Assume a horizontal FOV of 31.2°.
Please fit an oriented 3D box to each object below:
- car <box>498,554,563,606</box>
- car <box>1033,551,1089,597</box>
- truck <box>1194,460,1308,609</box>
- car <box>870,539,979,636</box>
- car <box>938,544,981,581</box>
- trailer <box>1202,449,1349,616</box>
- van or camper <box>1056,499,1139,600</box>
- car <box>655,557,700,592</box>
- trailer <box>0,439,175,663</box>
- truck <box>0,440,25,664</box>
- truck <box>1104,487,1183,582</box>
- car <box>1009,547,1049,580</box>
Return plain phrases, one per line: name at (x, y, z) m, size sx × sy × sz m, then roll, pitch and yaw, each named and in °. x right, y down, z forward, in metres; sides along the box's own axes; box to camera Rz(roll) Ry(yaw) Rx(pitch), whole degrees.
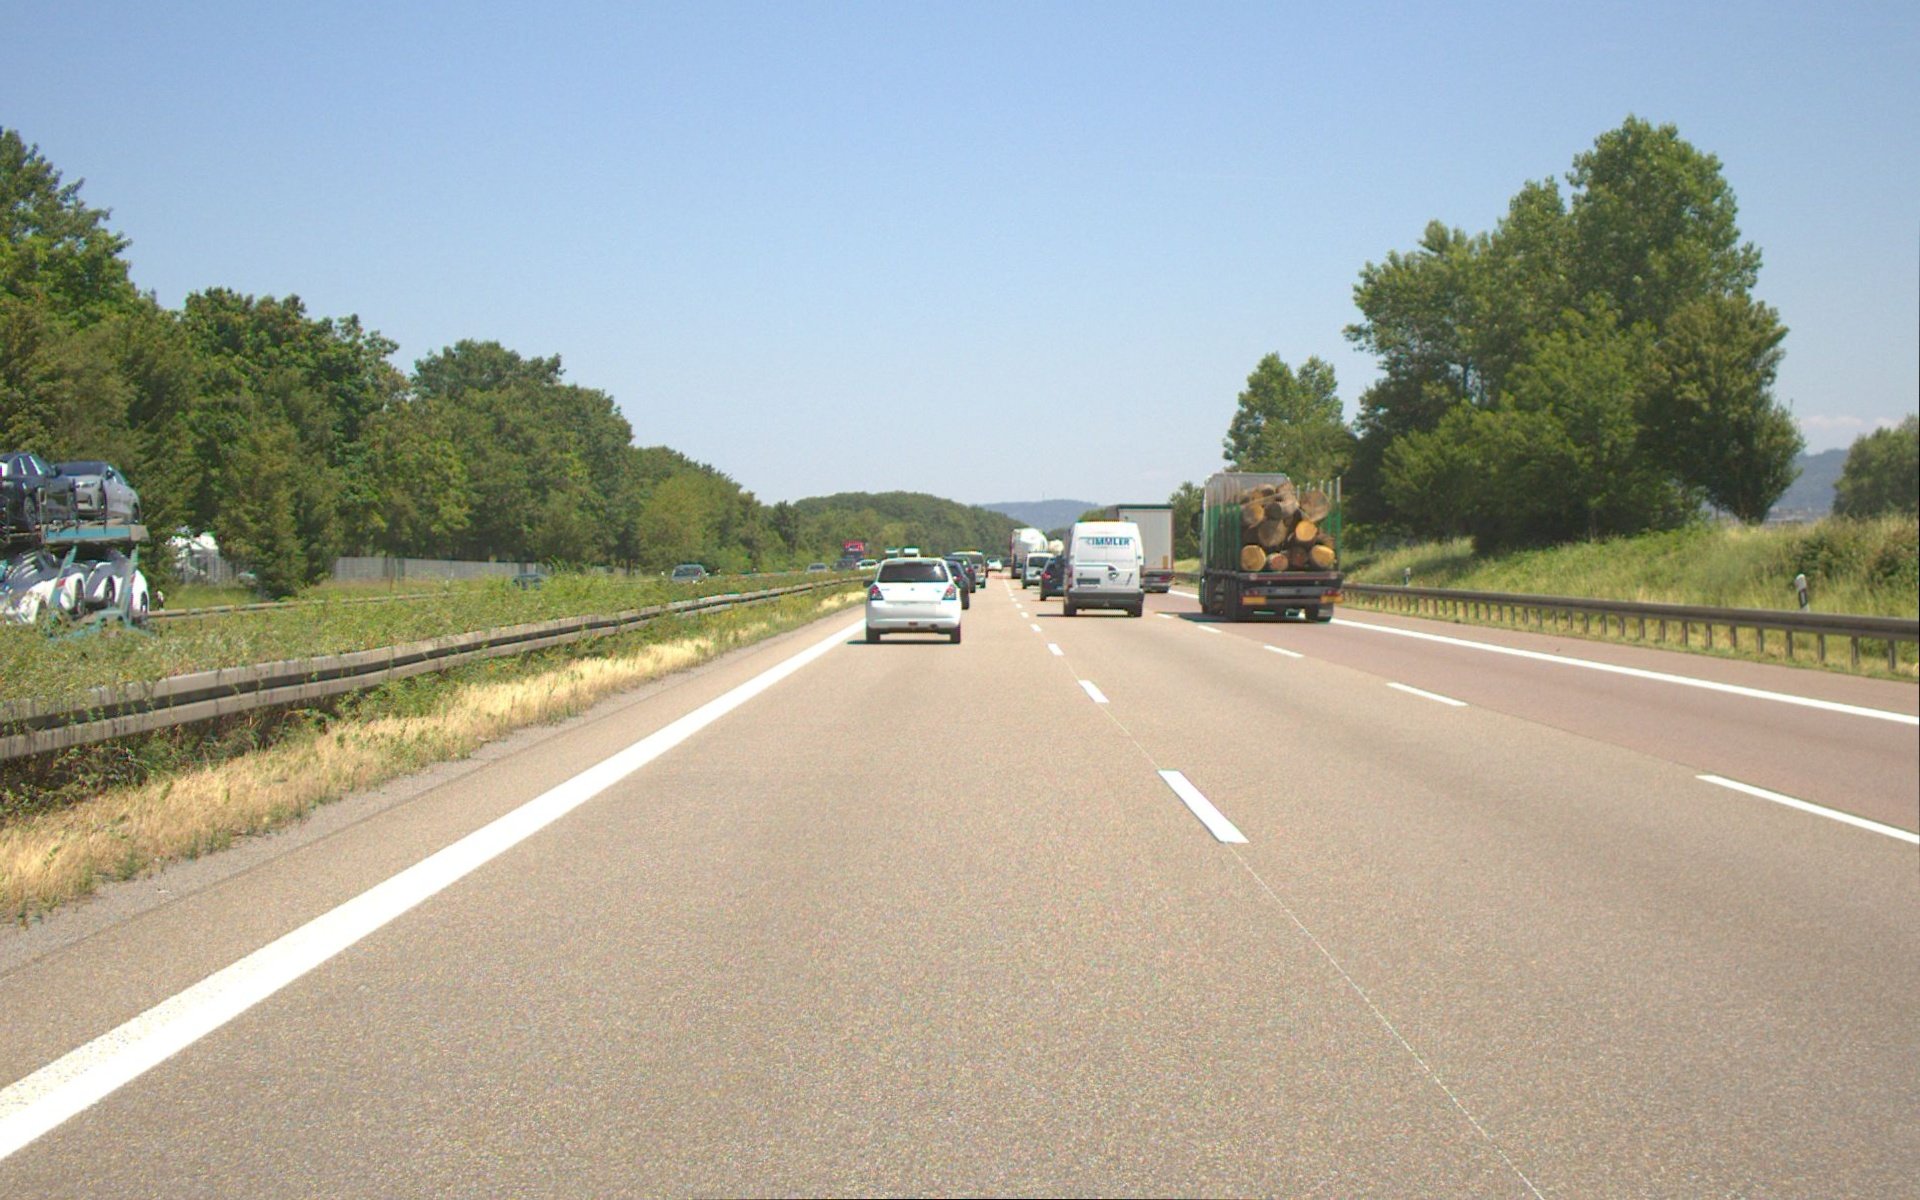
car at (-17.096, -0.811, 136.969) m, size 1.993 × 2.007 × 4.272 m, roll 1°, pitch 1°, yaw 0°
car at (3.683, -0.948, 125.605) m, size 1.857 × 1.646 × 4.000 m, roll 0°, pitch 1°, yaw -1°
truck at (8.079, -1.813, 96.045) m, size 2.670 × 3.981 × 6.636 m, roll 1°, pitch 1°, yaw 1°
car at (-0.654, -0.241, 61.703) m, size 1.857 × 1.646 × 4.000 m, roll 1°, pitch 1°, yaw -1°
car at (-0.039, -1.674, 153.206) m, size 1.857 × 1.646 × 4.000 m, roll 0°, pitch 1°, yaw -1°
trailer at (7.996, -1.711, 88.817) m, size 2.653 × 3.945 × 13.636 m, roll 1°, pitch 1°, yaw 1°
van or camper at (3.651, -1.353, 92.244) m, size 2.058 × 2.613 × 5.985 m, roll 0°, pitch 1°, yaw 1°
car at (-13.235, -1.187, 161.394) m, size 1.792 × 1.573 × 4.212 m, roll -1°, pitch 1°, yaw -1°
trailer at (-18.494, -0.862, 65.627) m, size 2.878 × 3.964 × 17.475 m, roll -3°, pitch 1°, yaw 0°
truck at (-18.407, -0.738, 58.362) m, size 2.878 × 3.962 × 7.373 m, roll -3°, pitch 1°, yaw 0°
truck at (8.633, -3.040, 163.435) m, size 3.079 × 4.194 × 16.843 m, roll 1°, pitch 1°, yaw 1°
car at (3.497, -1.857, 174.325) m, size 1.857 × 1.646 × 4.000 m, roll 0°, pitch 1°, yaw -1°
